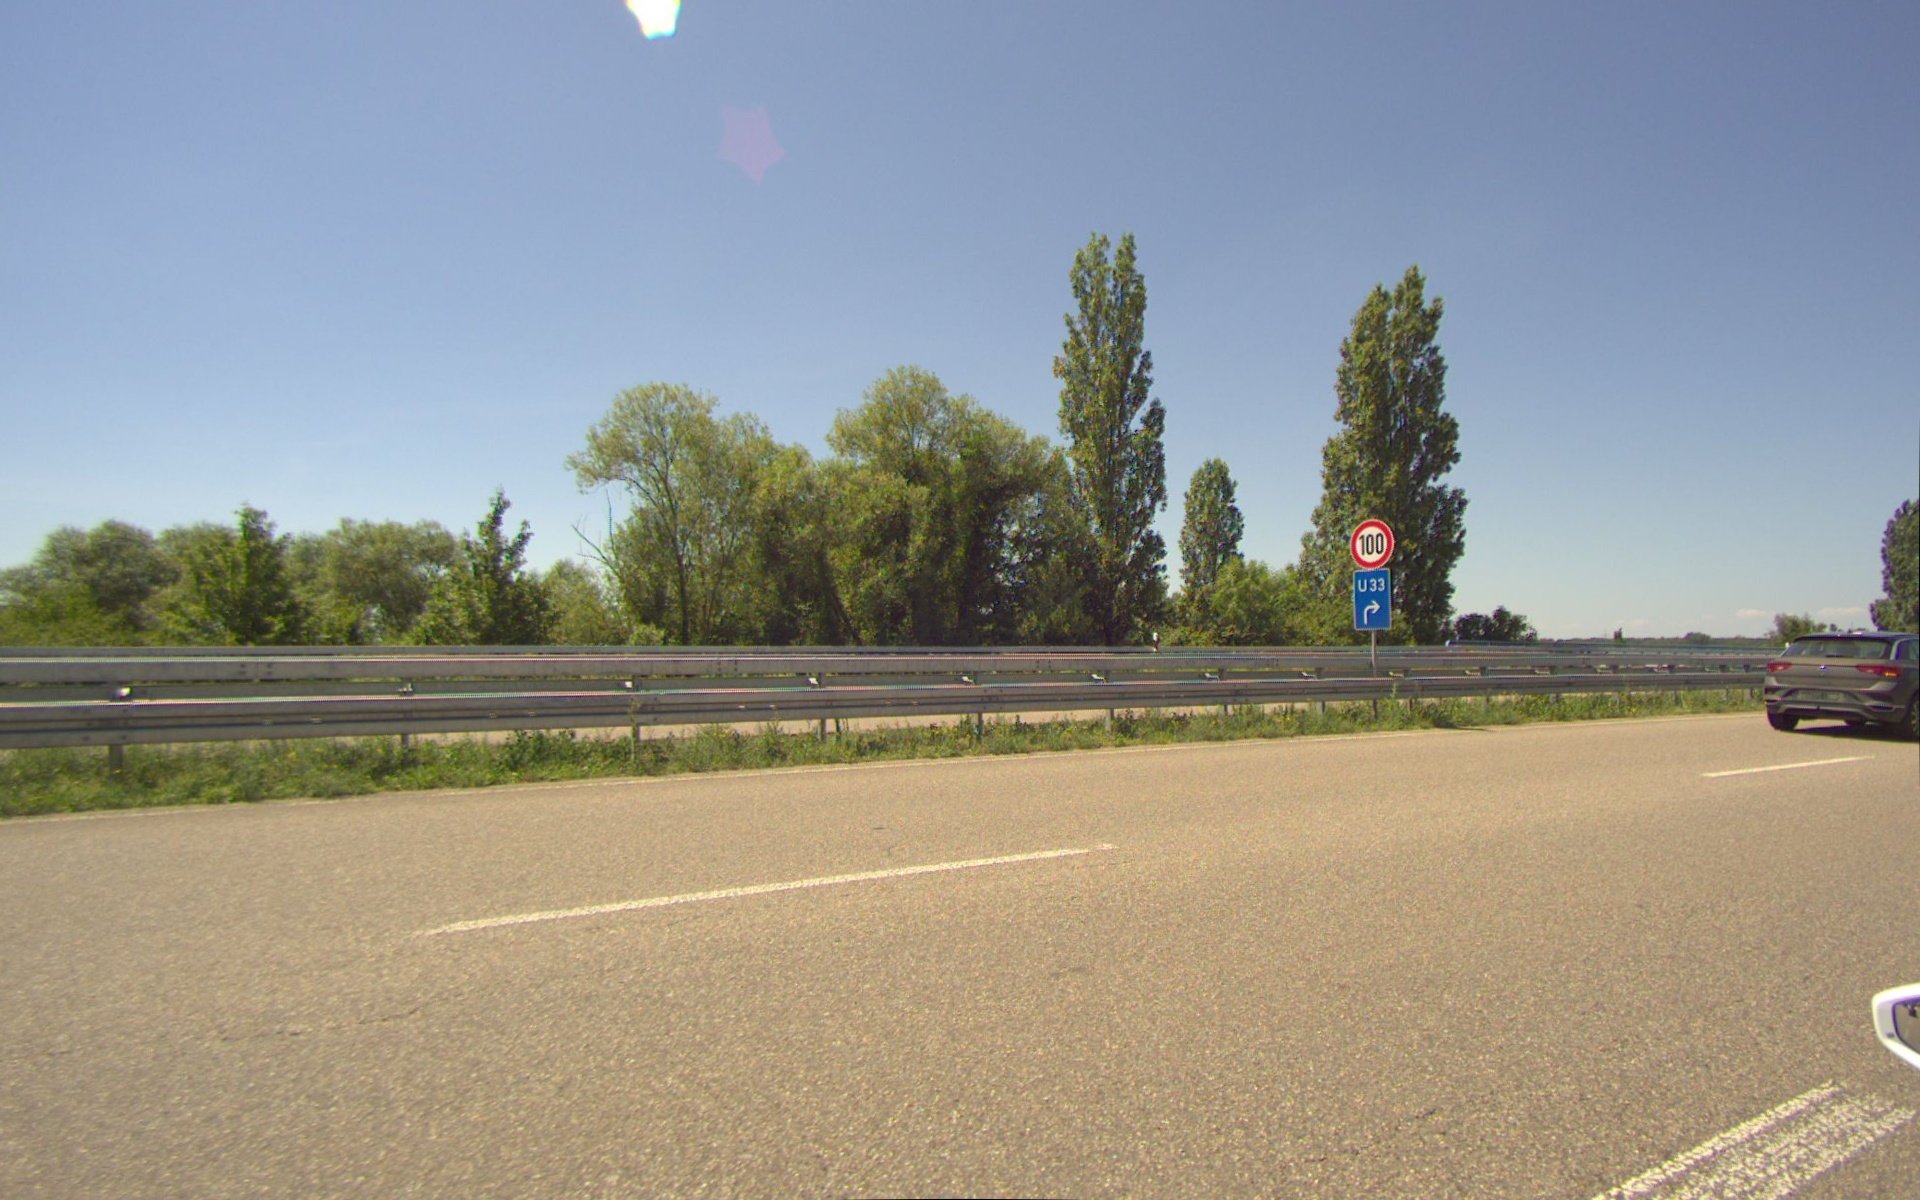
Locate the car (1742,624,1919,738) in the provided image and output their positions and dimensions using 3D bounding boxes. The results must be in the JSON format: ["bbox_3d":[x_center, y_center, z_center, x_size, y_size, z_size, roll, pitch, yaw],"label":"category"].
[{"bbox_3d":[14.420,1.193,15.760,4.415,1.550,1.833,2,-1,-29],"label":"car"}]
